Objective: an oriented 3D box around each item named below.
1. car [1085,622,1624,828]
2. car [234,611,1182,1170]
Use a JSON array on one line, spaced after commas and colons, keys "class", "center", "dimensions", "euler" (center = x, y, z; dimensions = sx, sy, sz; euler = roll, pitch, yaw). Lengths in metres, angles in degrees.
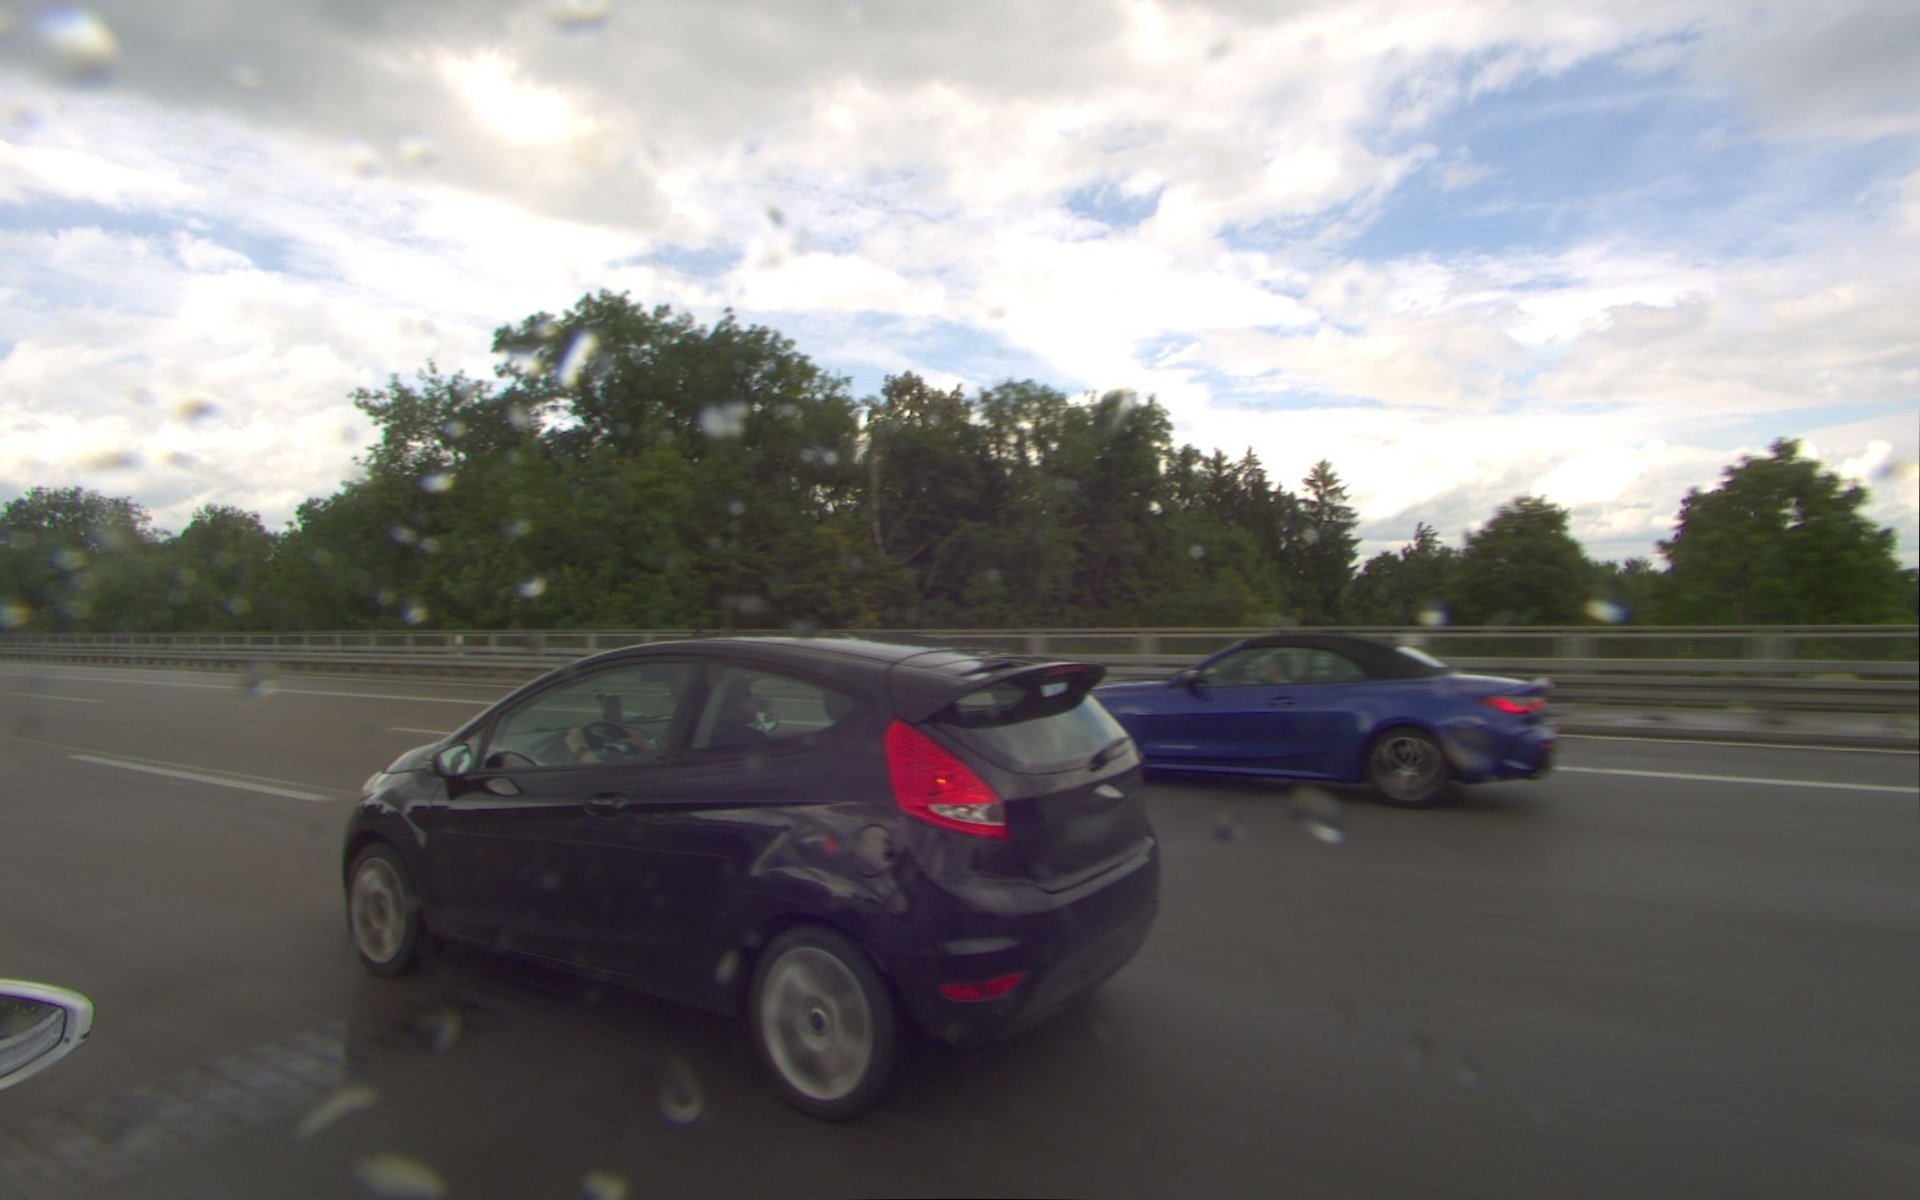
[{"class": "car", "center": [3.434, 0.927, 9.016], "dimensions": [4.171, 1.437, 1.946], "euler": [-1, -1, 32]}, {"class": "car", "center": [-1.339, 0.826, 4.473], "dimensions": [4.219, 1.435, 1.713], "euler": [-2, -1, 34]}]
